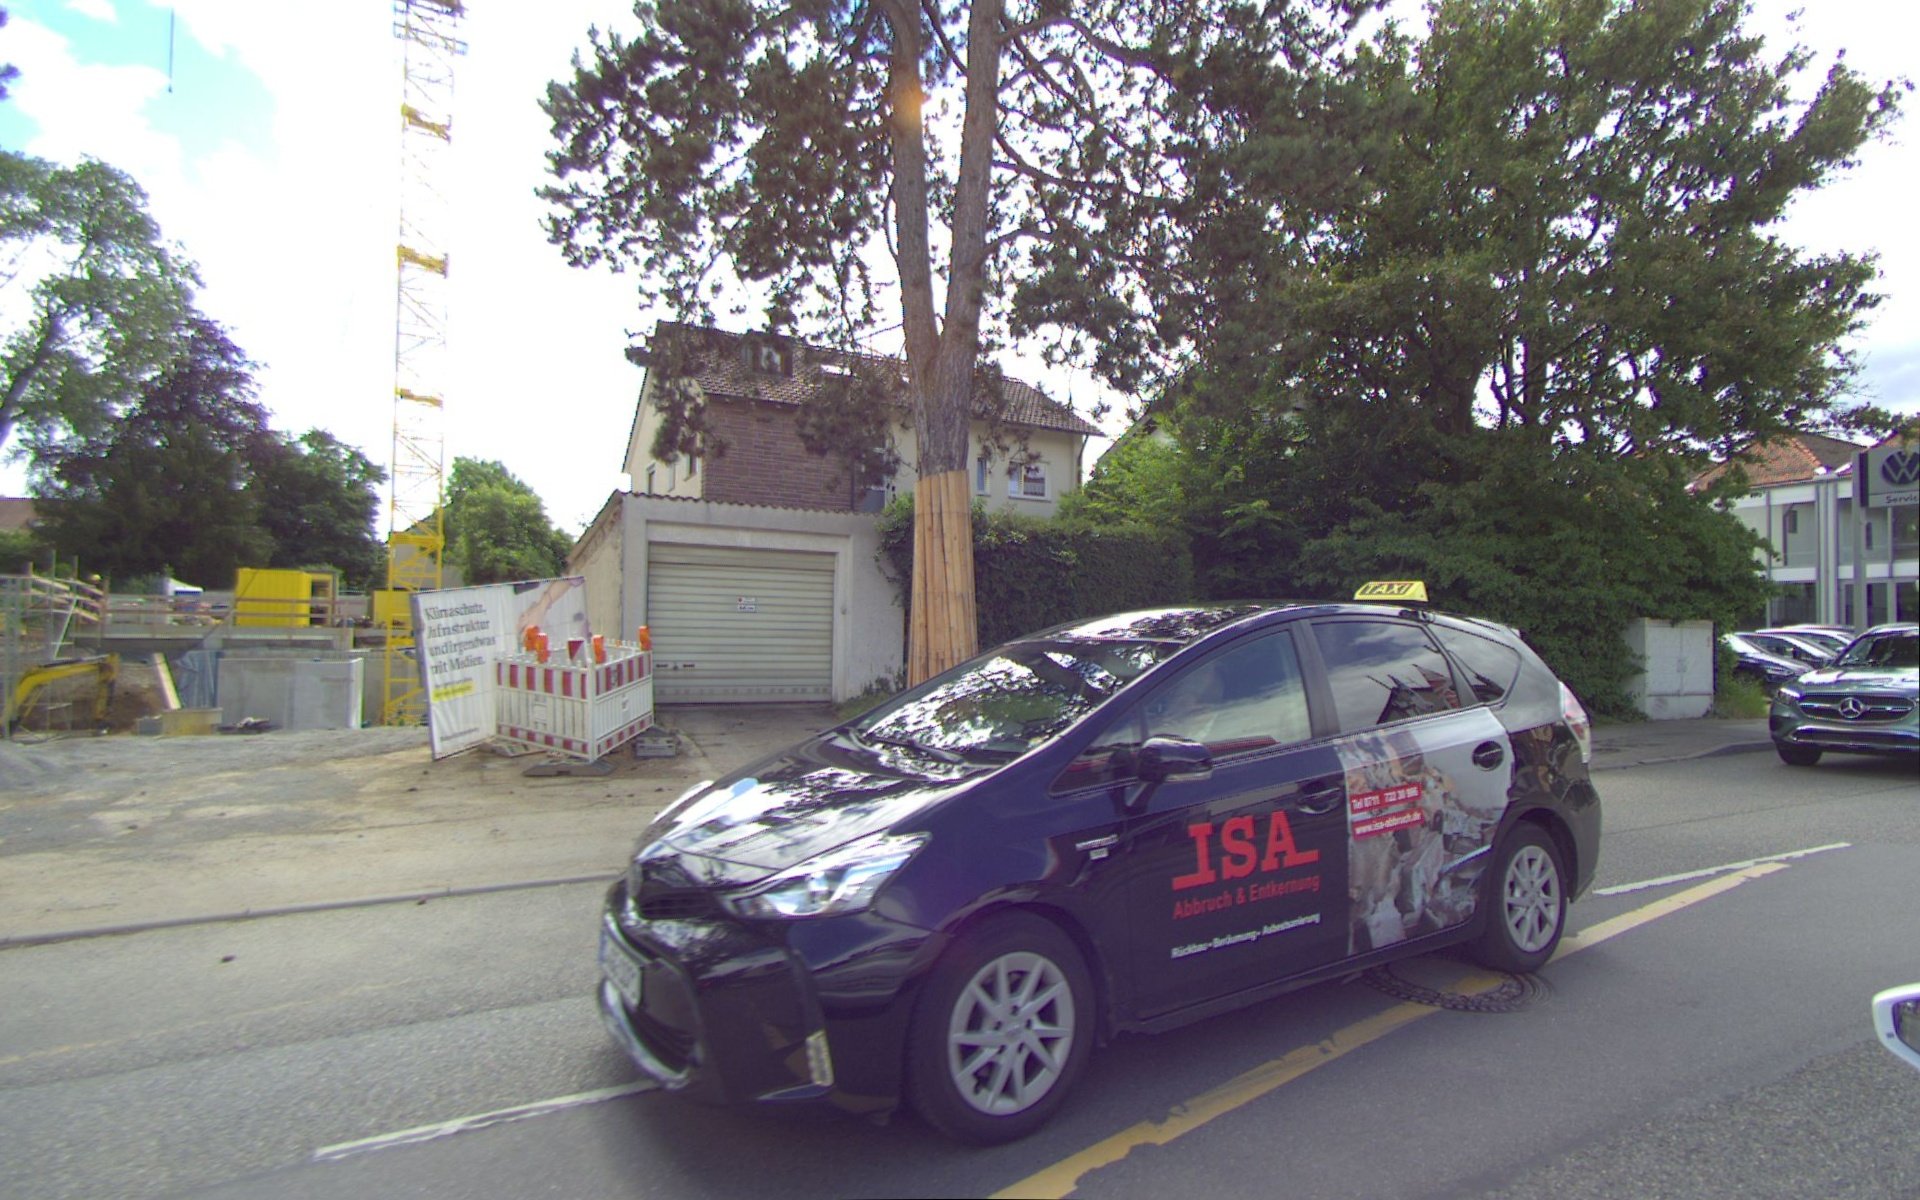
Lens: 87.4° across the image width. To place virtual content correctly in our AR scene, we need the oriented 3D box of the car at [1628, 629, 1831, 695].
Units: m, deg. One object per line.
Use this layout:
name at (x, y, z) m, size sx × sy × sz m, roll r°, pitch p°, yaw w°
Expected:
car at (19.457, 1.517, 25.554) m, size 1.708 × 1.538 × 3.723 m, roll 1°, pitch -2°, yaw -29°

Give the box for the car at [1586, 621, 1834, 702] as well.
car at (17.296, 1.344, 23.411) m, size 1.879 × 1.663 × 4.274 m, roll 1°, pitch -1°, yaw -27°

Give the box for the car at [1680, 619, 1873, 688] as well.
car at (21.717, 1.365, 26.866) m, size 1.516 × 1.581 × 3.723 m, roll 1°, pitch 0°, yaw -29°

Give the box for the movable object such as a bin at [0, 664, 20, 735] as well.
movable object such as a bin at (-25.954, 2.607, 26.191) m, size 1.635 × 1.806 × 1.984 m, roll 2°, pitch -1°, yaw -30°

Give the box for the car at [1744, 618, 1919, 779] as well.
car at (11.486, 1.045, 11.797) m, size 4.476 × 1.639 × 1.859 m, roll 0°, pitch -3°, yaw -27°

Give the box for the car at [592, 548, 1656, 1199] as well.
car at (0.935, 0.728, 4.364) m, size 4.479 × 1.547 × 1.855 m, roll 1°, pitch -3°, yaw -33°
